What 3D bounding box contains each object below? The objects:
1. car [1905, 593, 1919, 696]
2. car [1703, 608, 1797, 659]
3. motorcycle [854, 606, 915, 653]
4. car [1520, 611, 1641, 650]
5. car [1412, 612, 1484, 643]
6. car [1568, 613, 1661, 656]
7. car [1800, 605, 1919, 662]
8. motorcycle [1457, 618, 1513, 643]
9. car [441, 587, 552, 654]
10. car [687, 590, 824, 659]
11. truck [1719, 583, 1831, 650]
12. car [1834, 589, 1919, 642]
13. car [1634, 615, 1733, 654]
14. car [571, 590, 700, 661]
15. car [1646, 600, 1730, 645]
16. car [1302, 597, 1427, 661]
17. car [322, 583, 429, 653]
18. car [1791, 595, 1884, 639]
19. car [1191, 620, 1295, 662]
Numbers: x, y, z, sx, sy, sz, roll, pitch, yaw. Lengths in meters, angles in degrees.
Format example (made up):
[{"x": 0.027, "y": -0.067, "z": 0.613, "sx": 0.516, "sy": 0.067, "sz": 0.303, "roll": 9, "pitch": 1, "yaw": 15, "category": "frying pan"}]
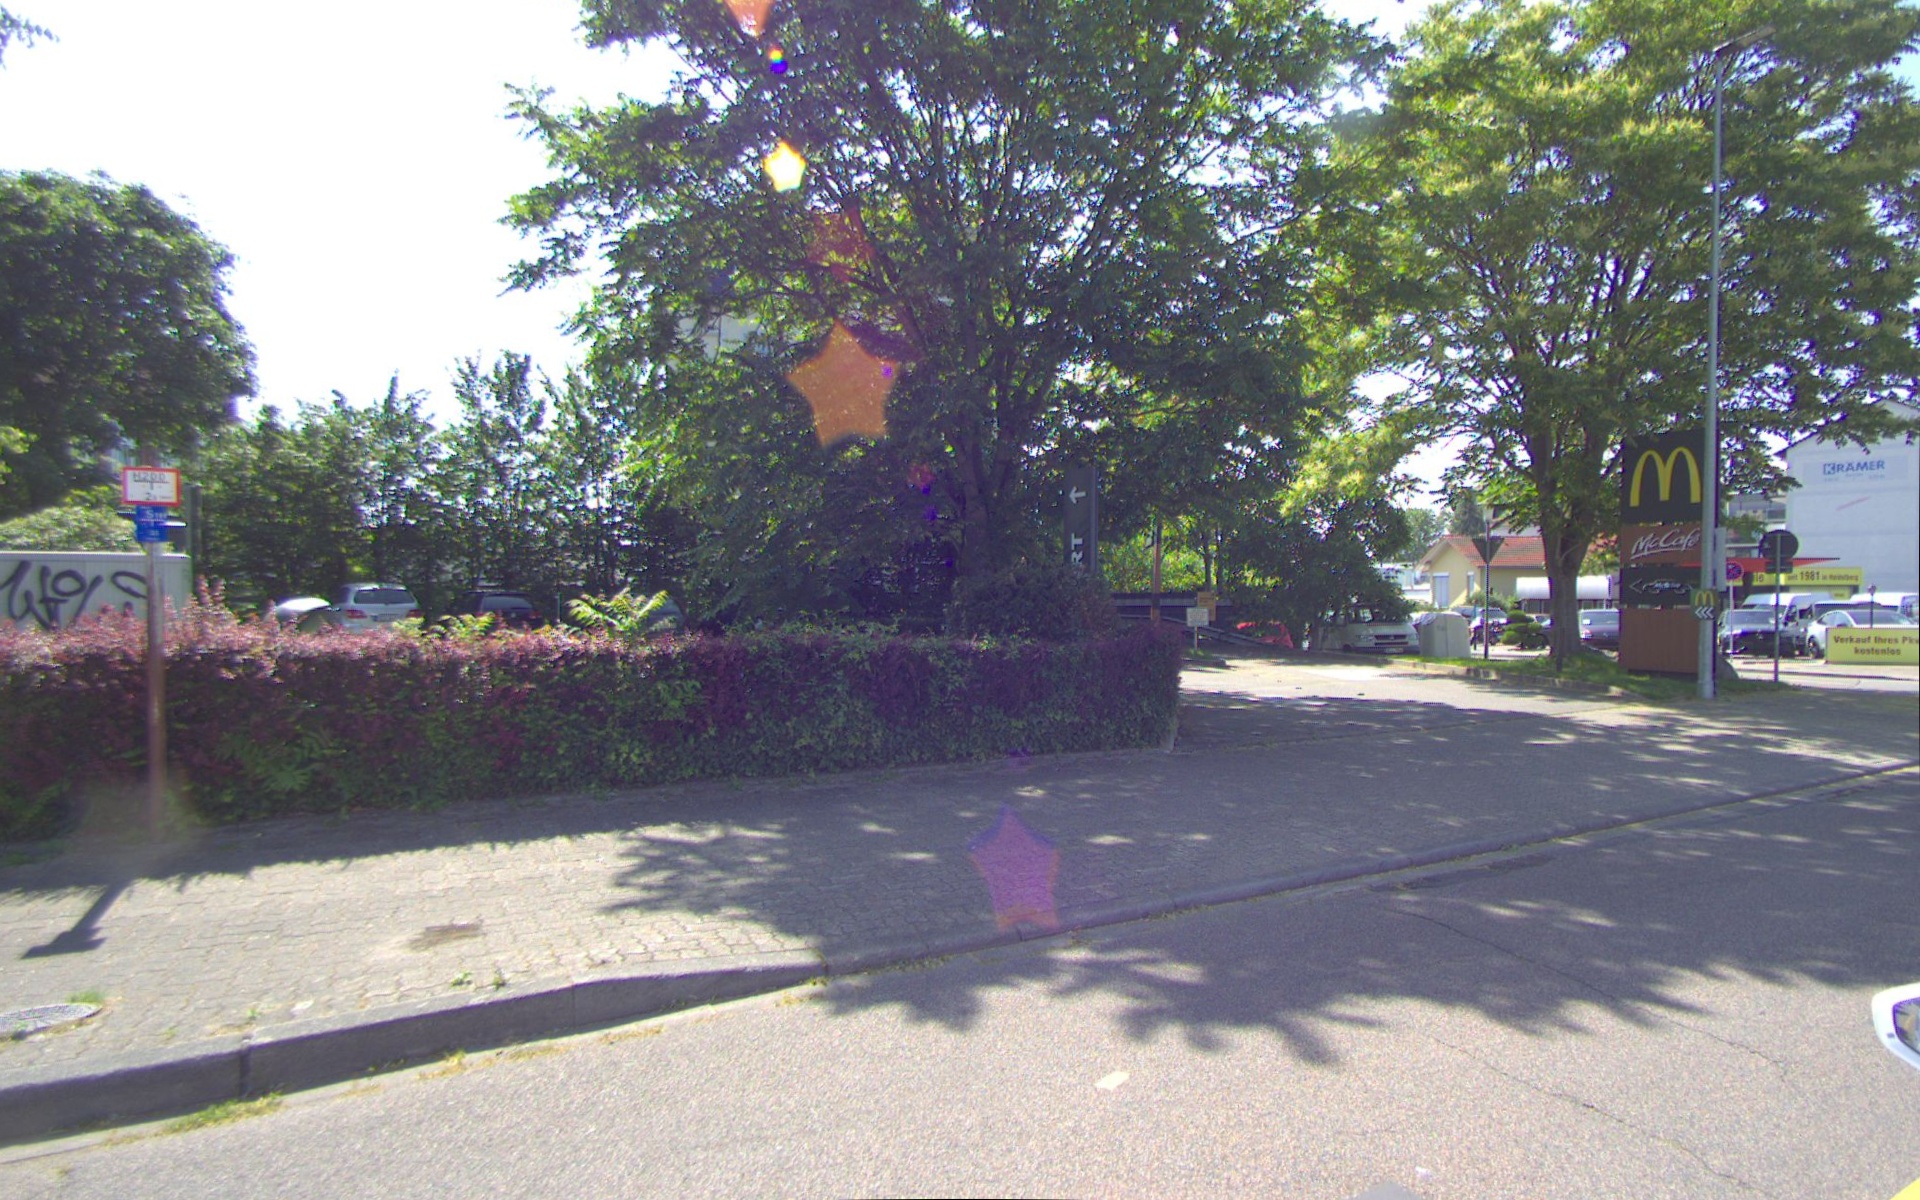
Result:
[{"x": 19.164, "y": 0.761, "z": 16.813, "sx": 2.139, "sy": 1.994, "sz": 5.448, "roll": -2, "pitch": -2, "yaw": 9, "category": "car"}, {"x": 27.360, "y": 1.116, "z": 34.943, "sx": 2.017, "sy": 1.616, "sz": 4.413, "roll": 2, "pitch": 0, "yaw": 32, "category": "car"}, {"x": -1.990, "y": 0.757, "z": 26.291, "sx": 1.578, "sy": 1.185, "sz": 0.568, "roll": 1, "pitch": 1, "yaw": 34, "category": "motorcycle"}, {"x": 27.982, "y": 1.354, "z": 45.431, "sx": 4.248, "sy": 1.606, "sz": 2.000, "roll": 2, "pitch": 0, "yaw": 17, "category": "car"}, {"x": 28.039, "y": 1.551, "z": 57.894, "sx": 1.962, "sy": 1.606, "sz": 3.997, "roll": 2, "pitch": 0, "yaw": -4, "category": "car"}, {"x": 25.485, "y": 1.324, "z": 39.084, "sx": 3.962, "sy": 1.530, "sz": 1.775, "roll": 2, "pitch": 0, "yaw": -37, "category": "car"}, {"x": 30.423, "y": 1.091, "z": 33.868, "sx": 1.961, "sy": 1.748, "sz": 4.000, "roll": 2, "pitch": 0, "yaw": 20, "category": "car"}, {"x": 28.211, "y": 1.629, "z": 53.973, "sx": 2.673, "sy": 1.243, "sz": 0.996, "roll": 2, "pitch": 0, "yaw": -14, "category": "motorcycle"}, {"x": -11.935, "y": 0.455, "z": 25.741, "sx": 1.758, "sy": 1.490, "sz": 3.956, "roll": -1, "pitch": 3, "yaw": -38, "category": "car"}, {"x": -5.208, "y": 0.547, "z": 25.249, "sx": 1.649, "sy": 1.490, "sz": 3.855, "roll": -1, "pitch": 3, "yaw": -43, "category": "car"}, {"x": 37.915, "y": 0.742, "z": 46.671, "sx": 5.879, "sy": 2.943, "sz": 2.256, "roll": 1, "pitch": 1, "yaw": -33, "category": "truck"}, {"x": 42.306, "y": 0.694, "z": 46.316, "sx": 4.667, "sy": 2.315, "sz": 2.120, "roll": 1, "pitch": 0, "yaw": -37, "category": "car"}, {"x": 30.412, "y": 1.449, "z": 42.197, "sx": 3.949, "sy": 1.507, "sz": 1.781, "roll": 2, "pitch": 0, "yaw": -28, "category": "car"}, {"x": -8.020, "y": 0.556, "z": 24.643, "sx": 1.690, "sy": 1.473, "sz": 3.953, "roll": -1, "pitch": 3, "yaw": -40, "category": "car"}, {"x": 35.574, "y": 1.109, "z": 49.058, "sx": 4.451, "sy": 2.040, "sz": 1.980, "roll": 2, "pitch": 0, "yaw": -35, "category": "car"}, {"x": 11.580, "y": 0.767, "z": 29.152, "sx": 1.918, "sy": 1.604, "sz": 5.033, "roll": 2, "pitch": 1, "yaw": 5, "category": "car"}, {"x": -14.890, "y": 0.386, "z": 25.518, "sx": 1.759, "sy": 1.593, "sz": 3.954, "roll": 0, "pitch": 2, "yaw": -39, "category": "car"}, {"x": 37.436, "y": 0.728, "z": 42.837, "sx": 4.674, "sy": 1.761, "sz": 1.865, "roll": 1, "pitch": 1, "yaw": -35, "category": "car"}, {"x": 10.268, "y": 1.474, "z": 36.602, "sx": 3.350, "sy": 1.397, "sz": 1.485, "roll": 0, "pitch": 2, "yaw": -5, "category": "car"}]
